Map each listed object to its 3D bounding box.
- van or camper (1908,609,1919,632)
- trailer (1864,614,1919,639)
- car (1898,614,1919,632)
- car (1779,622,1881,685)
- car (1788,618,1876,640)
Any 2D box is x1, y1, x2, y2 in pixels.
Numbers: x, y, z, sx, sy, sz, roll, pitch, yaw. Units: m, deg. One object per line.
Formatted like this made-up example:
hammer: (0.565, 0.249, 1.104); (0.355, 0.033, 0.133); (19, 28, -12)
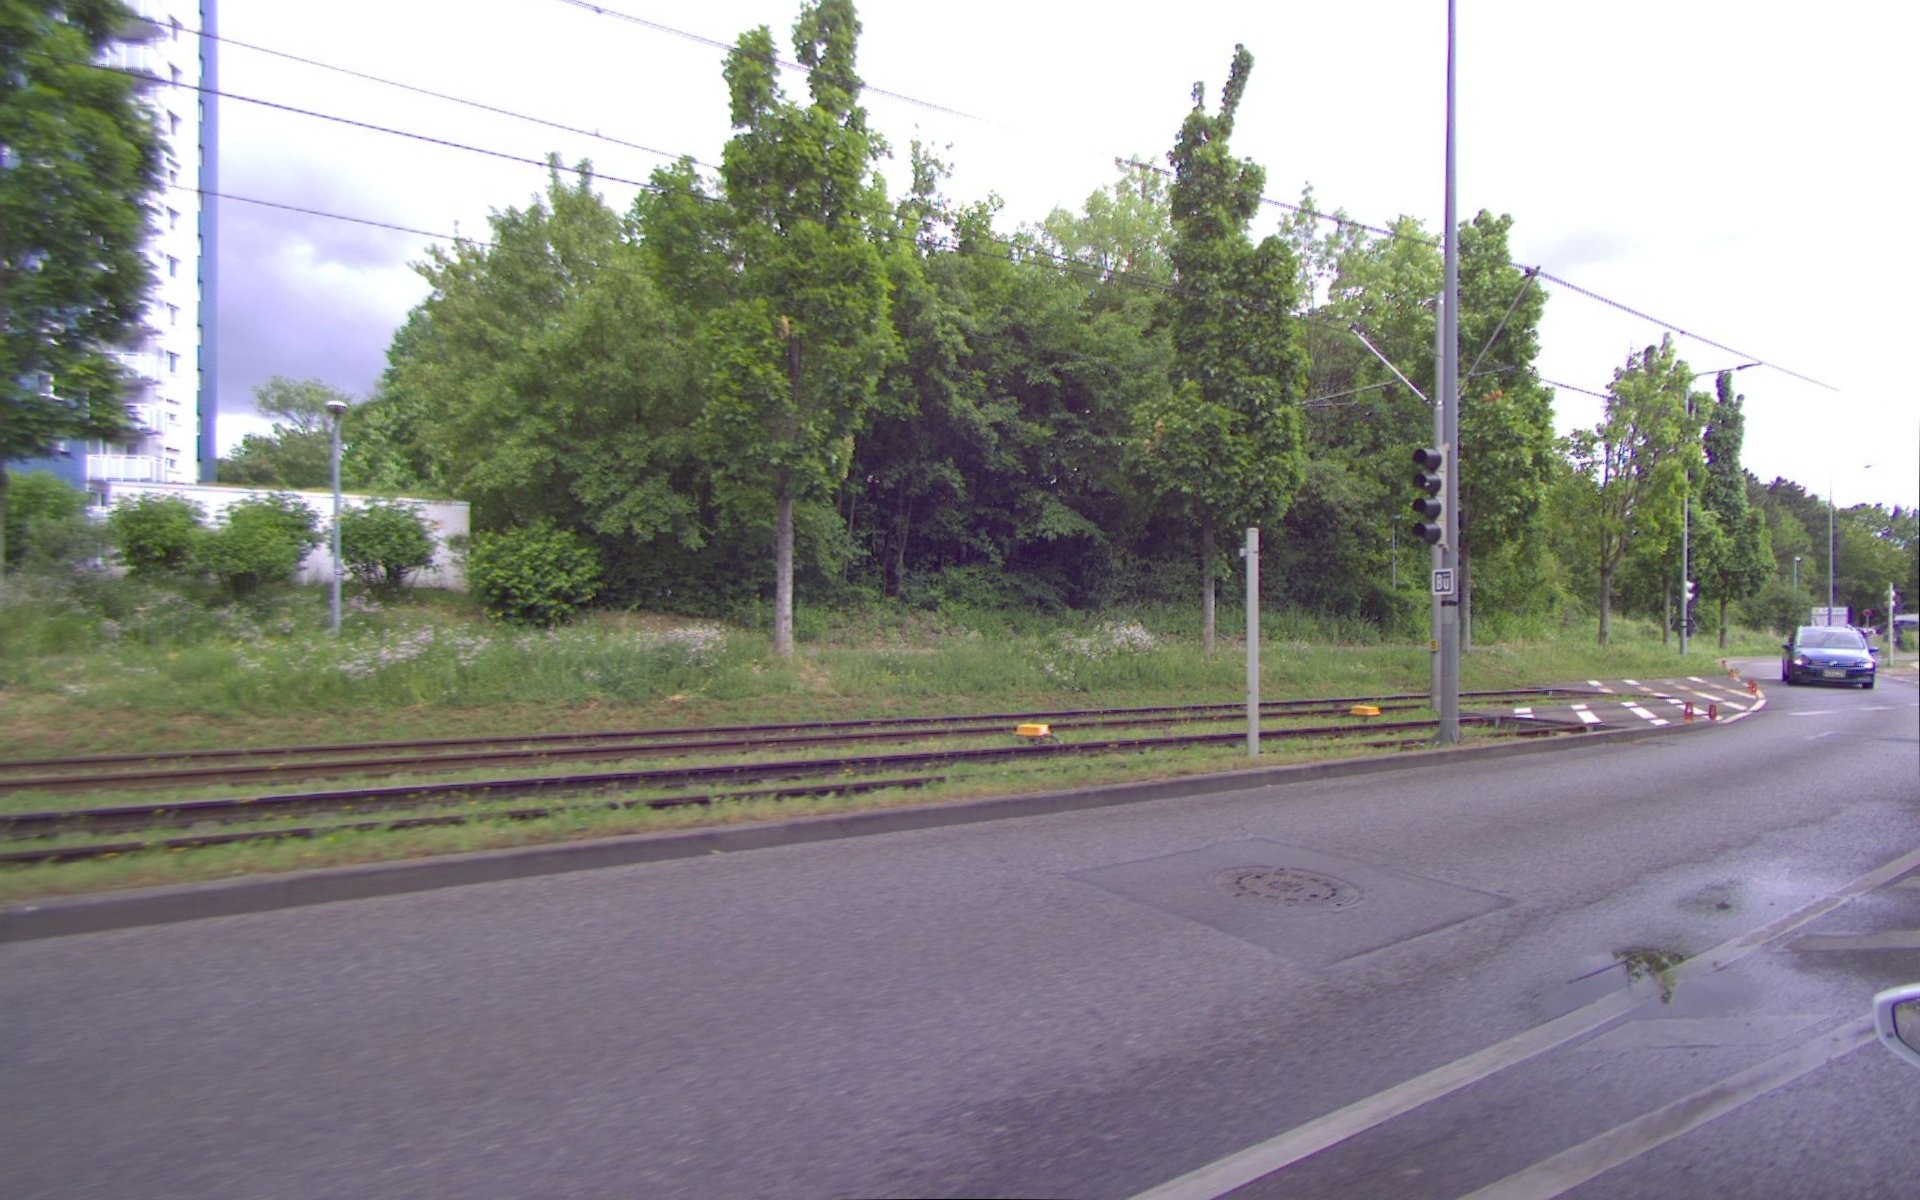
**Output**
van or camper: (93.903, 2.007, 95.417); (1.980, 2.232, 5.298); (1, 0, -35)
trailer: (81.853, 2.303, 87.733); (1.887, 2.040, 3.965); (1, -1, -32)
car: (91.515, 2.167, 94.313); (1.975, 1.678, 4.625); (2, -1, -27)
car: (24.329, 1.427, 28.214); (1.843, 1.541, 4.222); (1, 0, 37)
car: (68.700, 2.284, 79.201); (2.186, 1.606, 4.892); (2, -1, -35)
